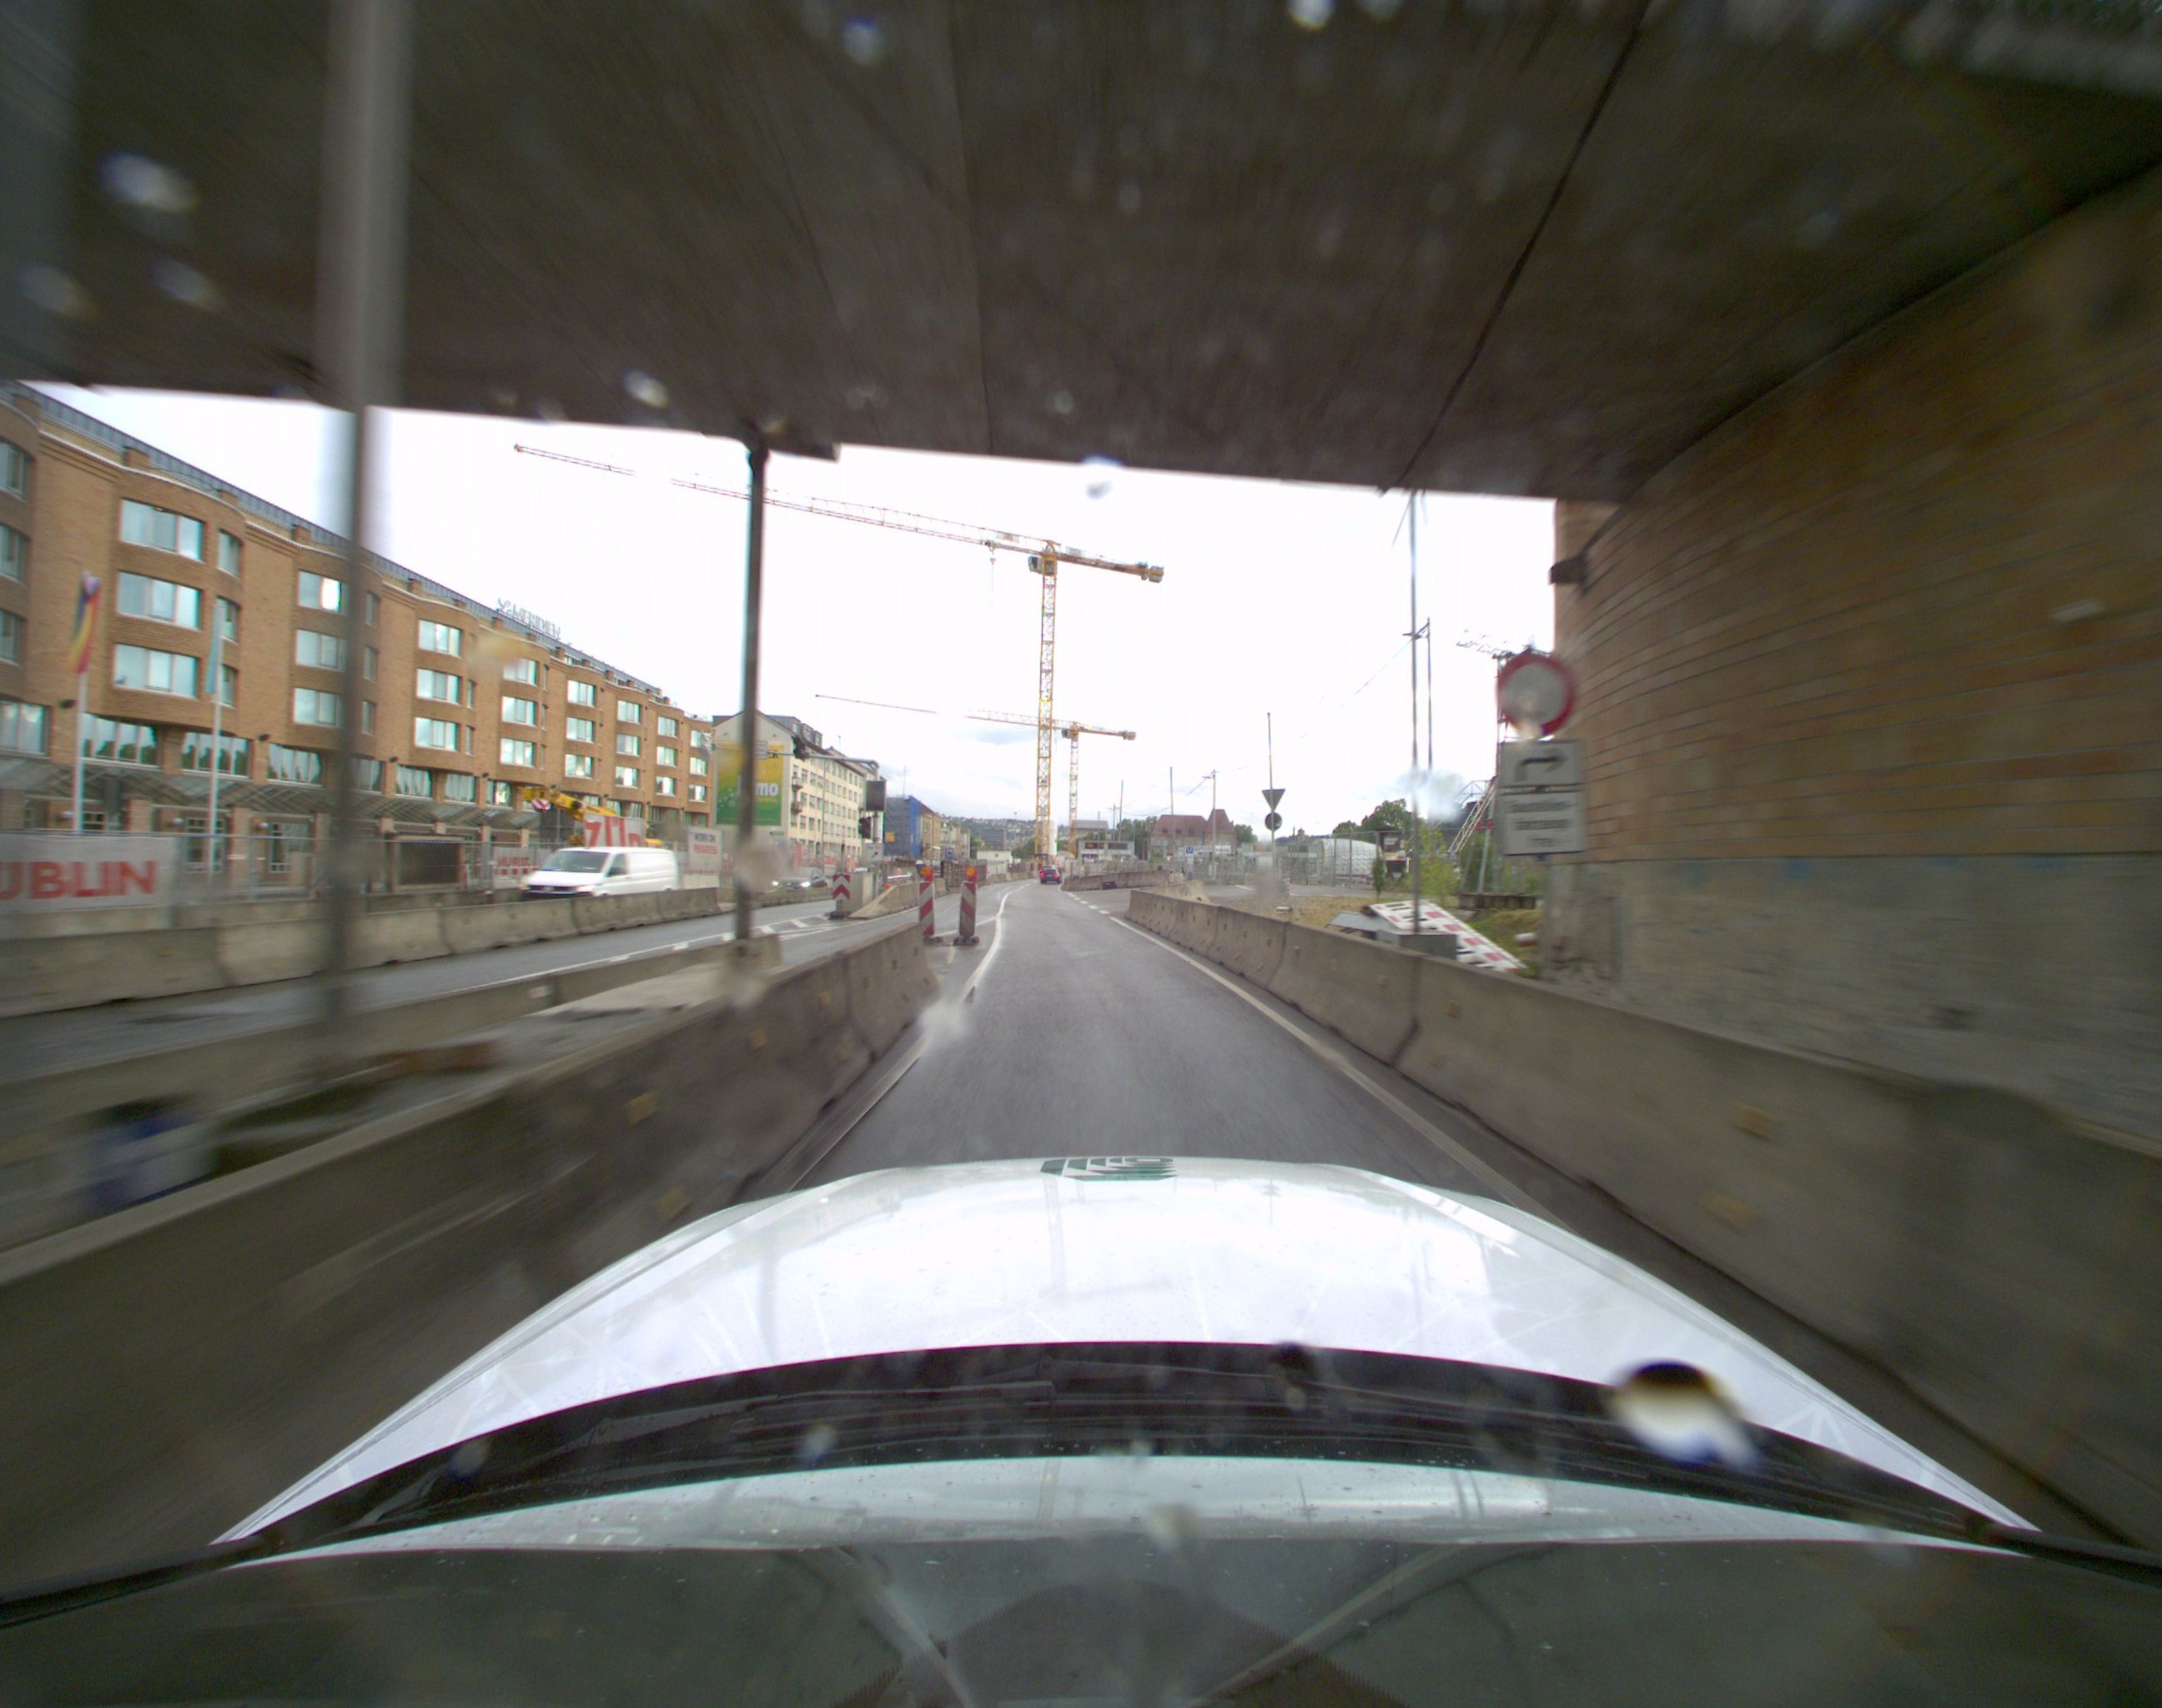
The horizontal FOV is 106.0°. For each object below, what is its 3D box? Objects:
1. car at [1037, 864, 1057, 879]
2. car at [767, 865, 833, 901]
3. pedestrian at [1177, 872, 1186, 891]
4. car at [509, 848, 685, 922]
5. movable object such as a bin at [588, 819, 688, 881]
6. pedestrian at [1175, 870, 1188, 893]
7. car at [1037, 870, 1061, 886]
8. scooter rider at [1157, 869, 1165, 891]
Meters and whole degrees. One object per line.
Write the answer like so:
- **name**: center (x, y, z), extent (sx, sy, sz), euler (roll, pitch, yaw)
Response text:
- **car**: center (-4.035, 2.078, 98.094), extent (1.855, 1.661, 4.660), euler (1, -1, 4)
- **car**: center (-13.586, 1.357, 39.594), extent (1.800, 1.623, 4.033), euler (1, 0, 0)
- **pedestrian**: center (9.216, 2.531, 74.553), extent (0.687, 1.778, 1.022), euler (0, -2, -2)
- **car**: center (-13.317, 0.794, 22.902), extent (1.800, 1.821, 5.299), euler (1, 0, -1)
- **movable object such as a bin**: center (-18.053, -0.110, 33.416), extent (2.024, 2.277, 4.284), euler (-2, -1, -6)
- **pedestrian**: center (7.719, 2.124, 62.787), extent (0.692, 1.778, 0.810), euler (1, -2, -20)
- **car**: center (-2.999, 2.257, 77.605), extent (1.855, 1.433, 4.659), euler (1, -2, 3)
- **scooter rider**: center (6.465, 2.056, 65.568), extent (0.517, 1.756, 0.702), euler (0, -1, 14)
